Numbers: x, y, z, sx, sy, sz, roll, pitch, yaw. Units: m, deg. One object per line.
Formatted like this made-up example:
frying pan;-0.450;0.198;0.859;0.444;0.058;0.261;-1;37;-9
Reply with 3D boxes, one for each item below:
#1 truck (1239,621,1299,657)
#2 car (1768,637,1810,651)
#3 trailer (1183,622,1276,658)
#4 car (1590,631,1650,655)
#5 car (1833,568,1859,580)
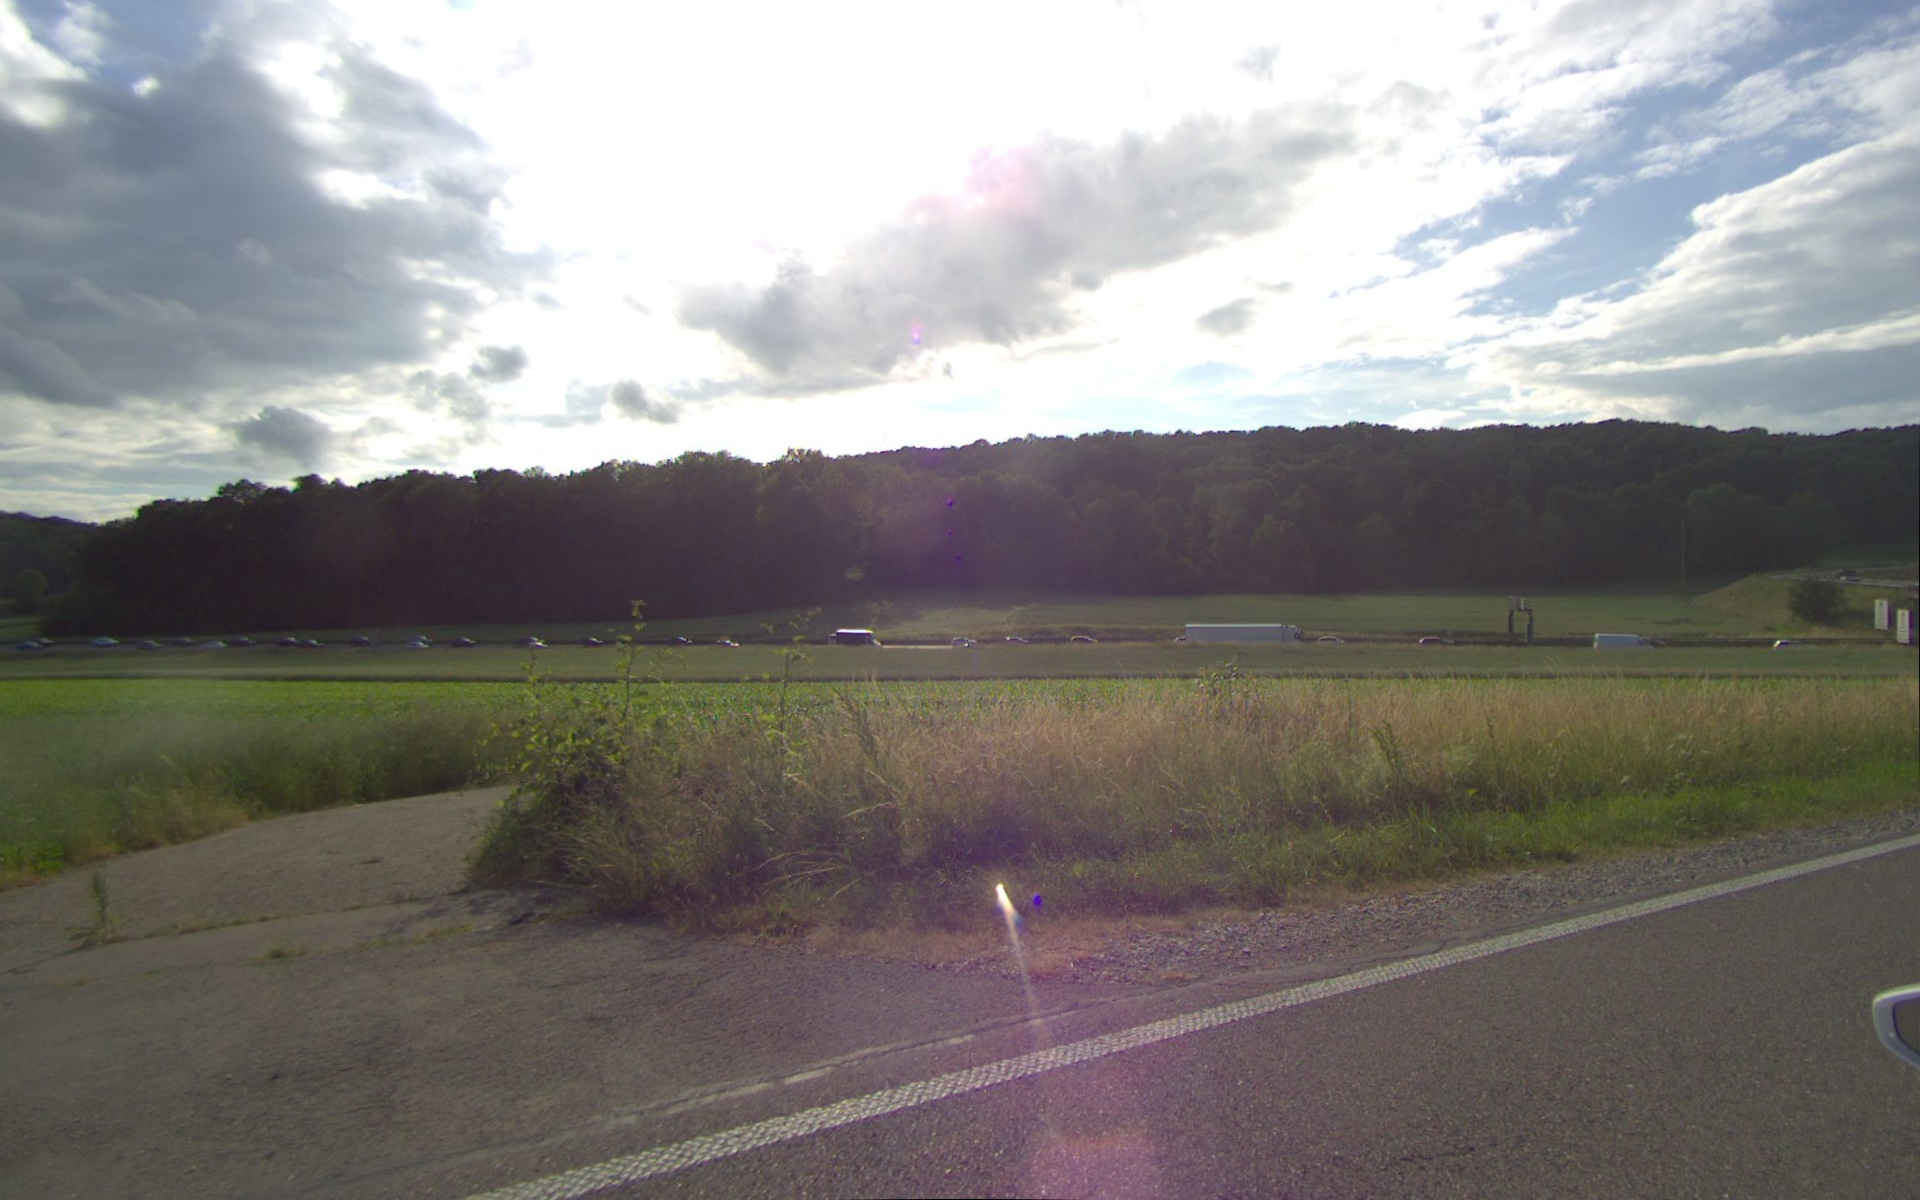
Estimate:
truck;43.580;5.526;141.948;7.895;4.529;3.029;-2;4;16
car;101.507;5.413;123.046;3.551;1.654;1.655;-1;-2;23
trailer;38.422;5.746;143.435;12.473;4.529;3.032;-2;4;16
car;84.152;5.479;128.216;6.004;2.620;2.372;-3;6;21
car;142.613;-4.168;161.677;1.962;1.795;3.997;-3;0;24
